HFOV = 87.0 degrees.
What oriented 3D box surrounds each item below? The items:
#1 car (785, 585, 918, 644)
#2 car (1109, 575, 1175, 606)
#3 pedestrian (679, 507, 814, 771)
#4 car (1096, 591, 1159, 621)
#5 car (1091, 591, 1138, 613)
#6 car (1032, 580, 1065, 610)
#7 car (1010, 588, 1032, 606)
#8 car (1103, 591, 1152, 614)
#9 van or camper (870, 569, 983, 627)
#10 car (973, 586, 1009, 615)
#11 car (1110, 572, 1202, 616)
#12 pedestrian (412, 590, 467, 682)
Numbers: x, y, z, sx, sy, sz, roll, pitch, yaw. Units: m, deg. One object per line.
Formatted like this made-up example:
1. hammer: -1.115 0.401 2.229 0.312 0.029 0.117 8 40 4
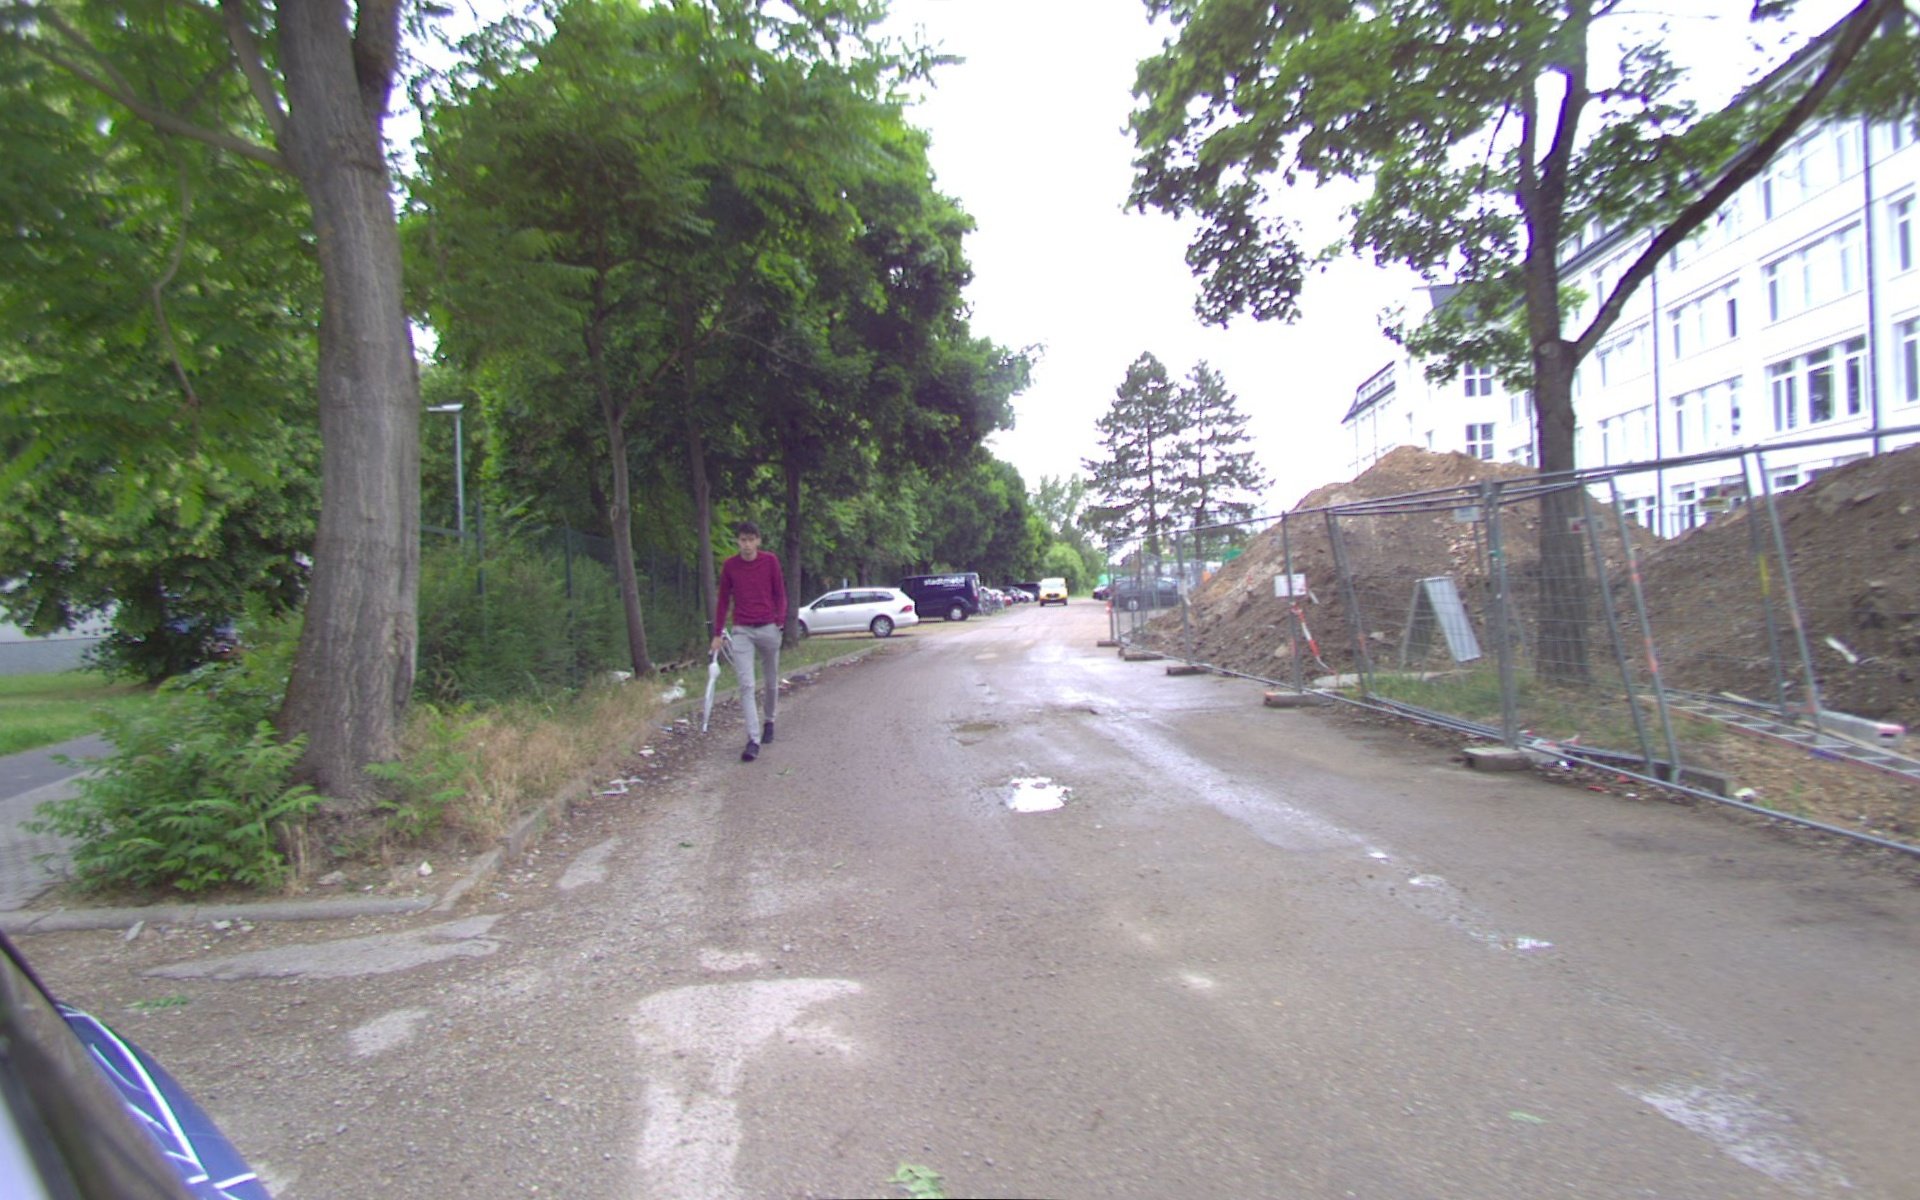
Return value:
1. car: -3.214 0.427 30.384 3.828 1.586 1.754 -2 0 -4
2. car: 11.624 -0.613 64.558 3.963 1.851 1.990 -2 0 16
3. pedestrian: -1.793 0.310 8.673 0.784 2.080 1.200 -2 0 4
4. car: 11.152 0.405 67.302 3.963 1.851 1.990 -2 0 16
5. car: 13.932 0.164 91.479 3.950 1.851 1.997 -2 0 6
6. car: 6.407 -0.356 73.729 2.096 2.029 3.999 -2 0 1
7. car: 5.790 -0.293 95.880 1.973 1.608 3.997 -2 0 3
8. car: 14.599 0.182 88.389 3.950 1.851 1.997 -2 0 6
9. van or camper: -1.374 -0.068 42.920 4.449 2.275 1.995 -2 0 9
10. car: 1.773 0.002 59.202 1.795 1.608 4.001 -2 0 -1
11. car: 9.014 -0.278 46.496 3.963 1.851 1.990 -2 0 16
12. pedestrian: -10.223 0.695 19.897 0.674 1.762 0.619 -2 0 12
